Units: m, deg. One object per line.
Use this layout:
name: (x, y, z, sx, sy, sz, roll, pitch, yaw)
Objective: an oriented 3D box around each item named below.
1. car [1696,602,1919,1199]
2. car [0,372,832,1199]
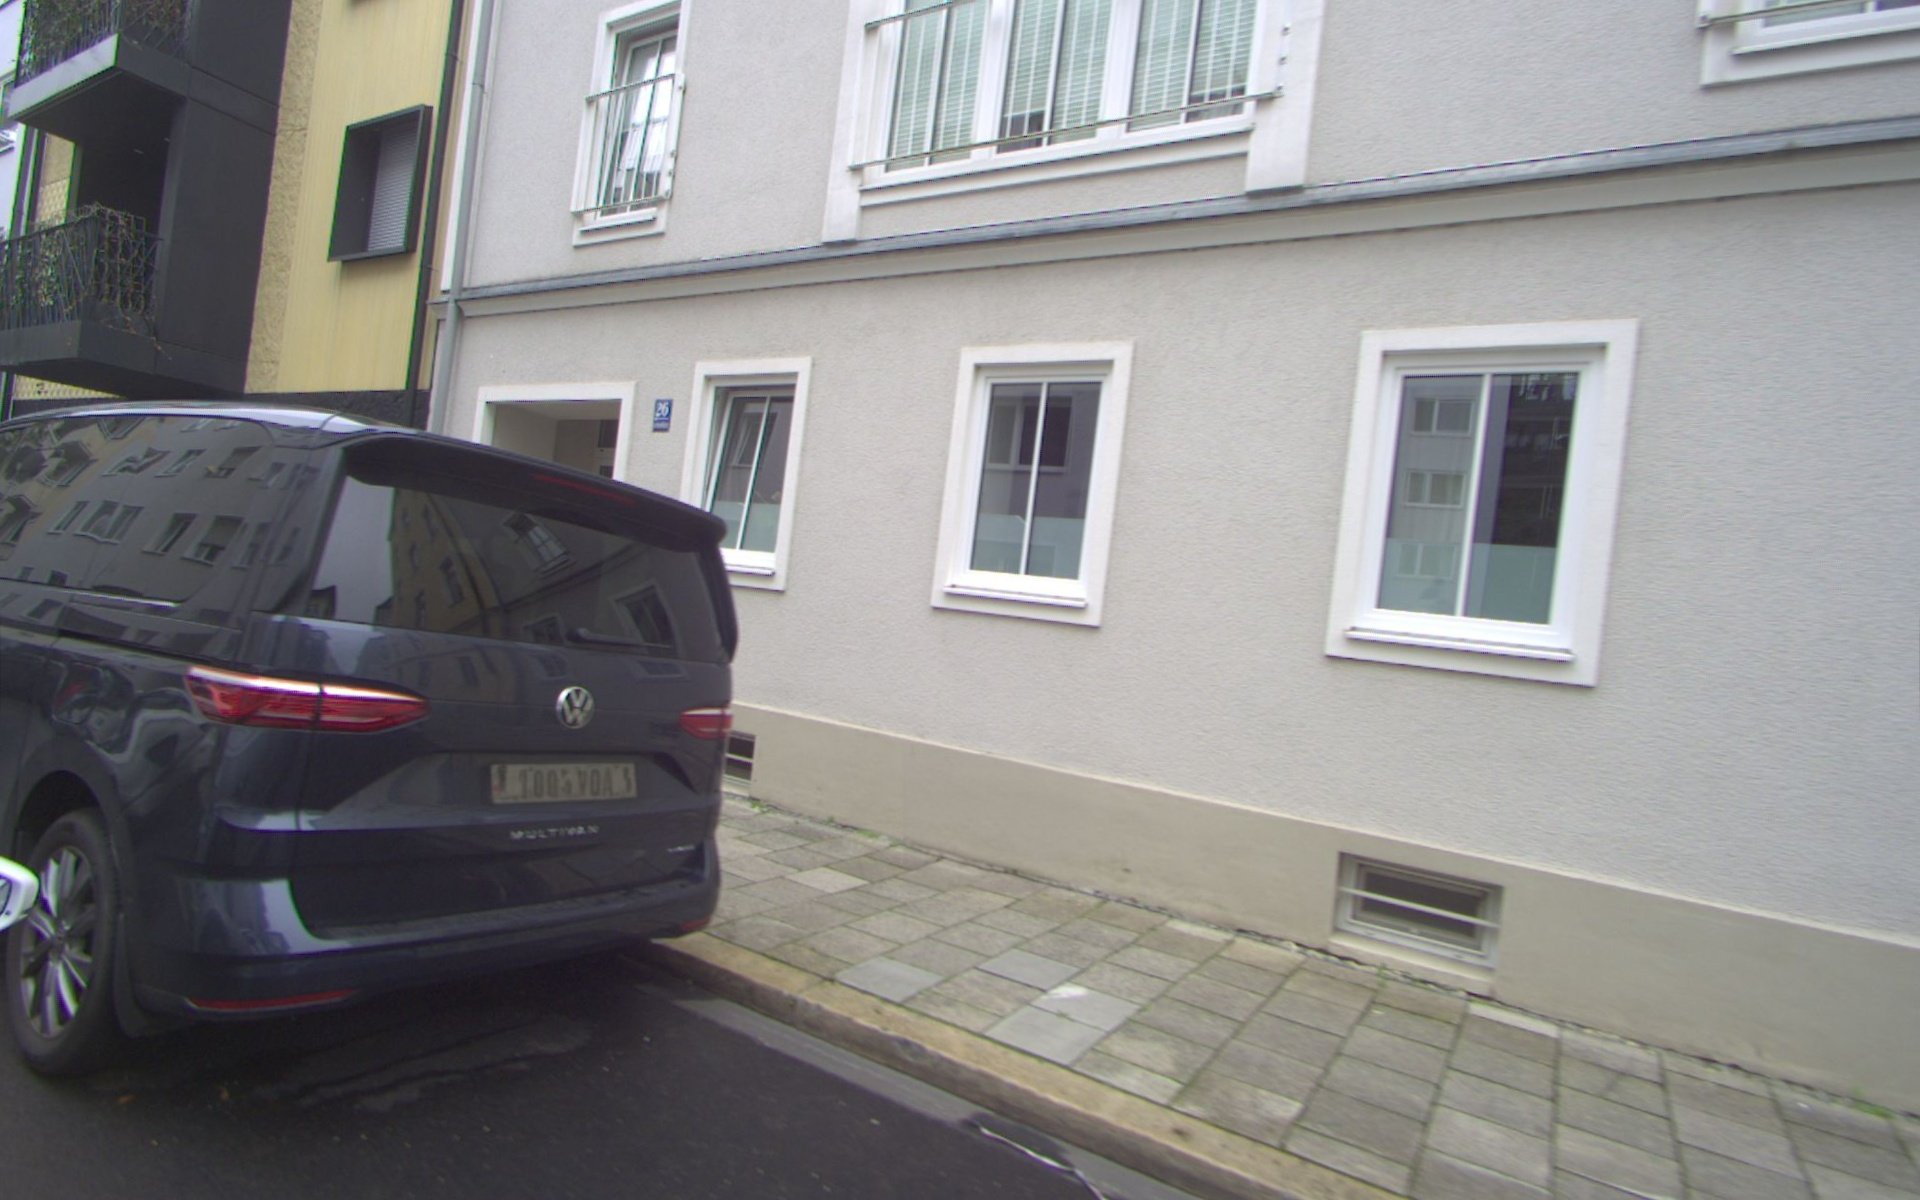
car: (3.091, 1.068, 0.247, 4.466, 1.694, 1.964, 6, -1, 32)
car: (-3.281, 0.290, 4.418, 5.098, 1.859, 1.987, 6, -3, 32)
